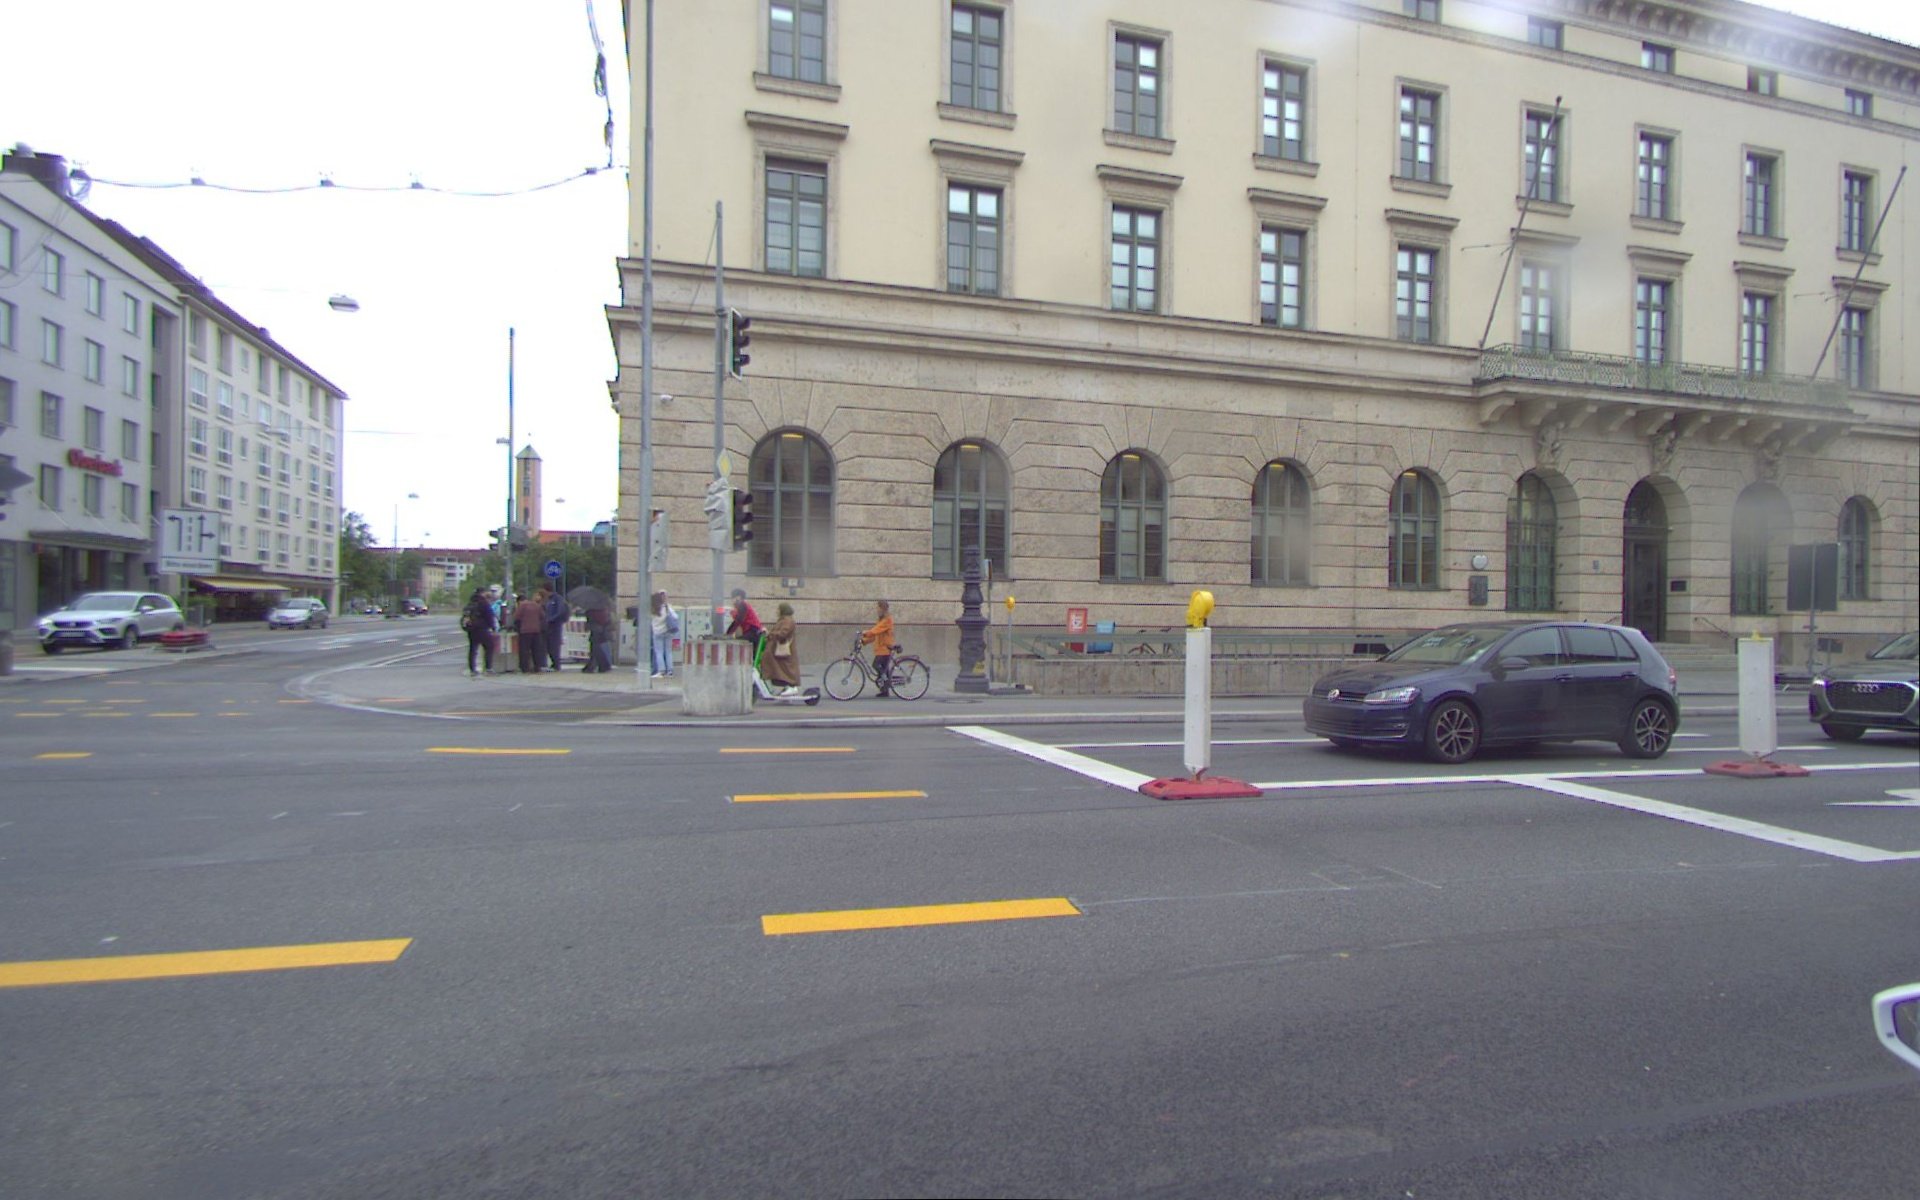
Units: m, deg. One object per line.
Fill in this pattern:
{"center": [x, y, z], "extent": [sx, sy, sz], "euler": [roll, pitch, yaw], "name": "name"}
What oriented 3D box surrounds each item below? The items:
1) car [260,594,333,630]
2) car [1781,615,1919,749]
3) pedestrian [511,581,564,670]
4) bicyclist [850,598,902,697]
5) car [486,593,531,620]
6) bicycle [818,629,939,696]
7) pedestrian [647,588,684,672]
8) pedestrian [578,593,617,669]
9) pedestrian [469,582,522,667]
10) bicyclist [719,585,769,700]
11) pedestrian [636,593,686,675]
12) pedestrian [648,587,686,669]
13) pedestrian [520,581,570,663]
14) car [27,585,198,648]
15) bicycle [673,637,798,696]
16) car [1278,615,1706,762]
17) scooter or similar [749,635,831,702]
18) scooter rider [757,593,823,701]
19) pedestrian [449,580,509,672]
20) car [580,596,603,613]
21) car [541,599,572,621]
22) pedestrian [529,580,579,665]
{"center": [-34.242, 0.608, 51.969], "extent": [1.968, 1.758, 4.217], "euler": [1, 0, -17], "name": "car"}
{"center": [13.421, 1.047, 13.265], "extent": [4.502, 1.587, 1.786], "euler": [1, -2, -17], "name": "car"}
{"center": [-8.708, 0.516, 20.723], "extent": [0.574, 1.779, 0.820], "euler": [2, 0, 15], "name": "pedestrian"}
{"center": [-1.444, 0.798, 17.169], "extent": [0.733, 1.636, 0.793], "euler": [2, 0, -14], "name": "bicyclist"}
{"center": [-26.293, 0.350, 58.555], "extent": [1.790, 1.443, 4.435], "euler": [3, -1, -17], "name": "car"}
{"center": [-1.406, 1.069, 17.189], "extent": [1.931, 1.054, 0.793], "euler": [2, 0, -14], "name": "bicycle"}
{"center": [-6.033, 0.608, 20.615], "extent": [0.606, 1.694, 0.541], "euler": [2, 0, -9], "name": "pedestrian"}
{"center": [-7.586, 0.634, 21.051], "extent": [0.656, 1.547, 0.817], "euler": [2, 0, -16], "name": "pedestrian"}
{"center": [-9.969, 0.521, 21.566], "extent": [0.577, 1.779, 0.815], "euler": [2, 0, 43], "name": "pedestrian"}
{"center": [-3.589, 0.698, 16.665], "extent": [0.733, 1.866, 0.659], "euler": [2, 0, -14], "name": "bicyclist"}
{"center": [-5.906, 0.667, 19.867], "extent": [0.805, 1.578, 0.666], "euler": [2, 0, -9], "name": "pedestrian"}
{"center": [-6.308, 0.592, 21.646], "extent": [0.706, 1.716, 0.817], "euler": [2, 0, -15], "name": "pedestrian"}
{"center": [-9.222, 0.482, 22.340], "extent": [0.804, 1.779, 0.585], "euler": [2, 0, -2], "name": "pedestrian"}
{"center": [-22.577, 0.420, 26.983], "extent": [1.968, 1.544, 4.217], "euler": [1, 0, -17], "name": "car"}
{"center": [-3.709, 1.102, 16.632], "extent": [1.945, 0.891, 0.660], "euler": [2, 0, -14], "name": "bicycle"}
{"center": [5.818, 0.941, 11.064], "extent": [4.172, 1.406, 1.743], "euler": [2, -2, -17], "name": "car"}
{"center": [-2.669, 1.069, 15.769], "extent": [1.194, 0.978, 0.586], "euler": [2, 0, -15], "name": "scooter or similar"}
{"center": [-2.668, 0.734, 15.770], "extent": [0.920, 1.644, 0.590], "euler": [2, 0, -15], "name": "scooter rider"}
{"center": [-9.617, 0.509, 20.096], "extent": [0.804, 1.779, 0.680], "euler": [2, 0, 0], "name": "pedestrian"}
{"center": [-36.462, 0.453, 99.365], "extent": [1.841, 1.623, 3.837], "euler": [1, 0, -17], "name": "car"}
{"center": [-31.781, 0.780, 79.203], "extent": [1.841, 1.623, 3.837], "euler": [1, 0, -17], "name": "car"}
{"center": [-8.709, 0.477, 21.569], "extent": [0.574, 1.779, 0.820], "euler": [2, 0, 15], "name": "pedestrian"}
